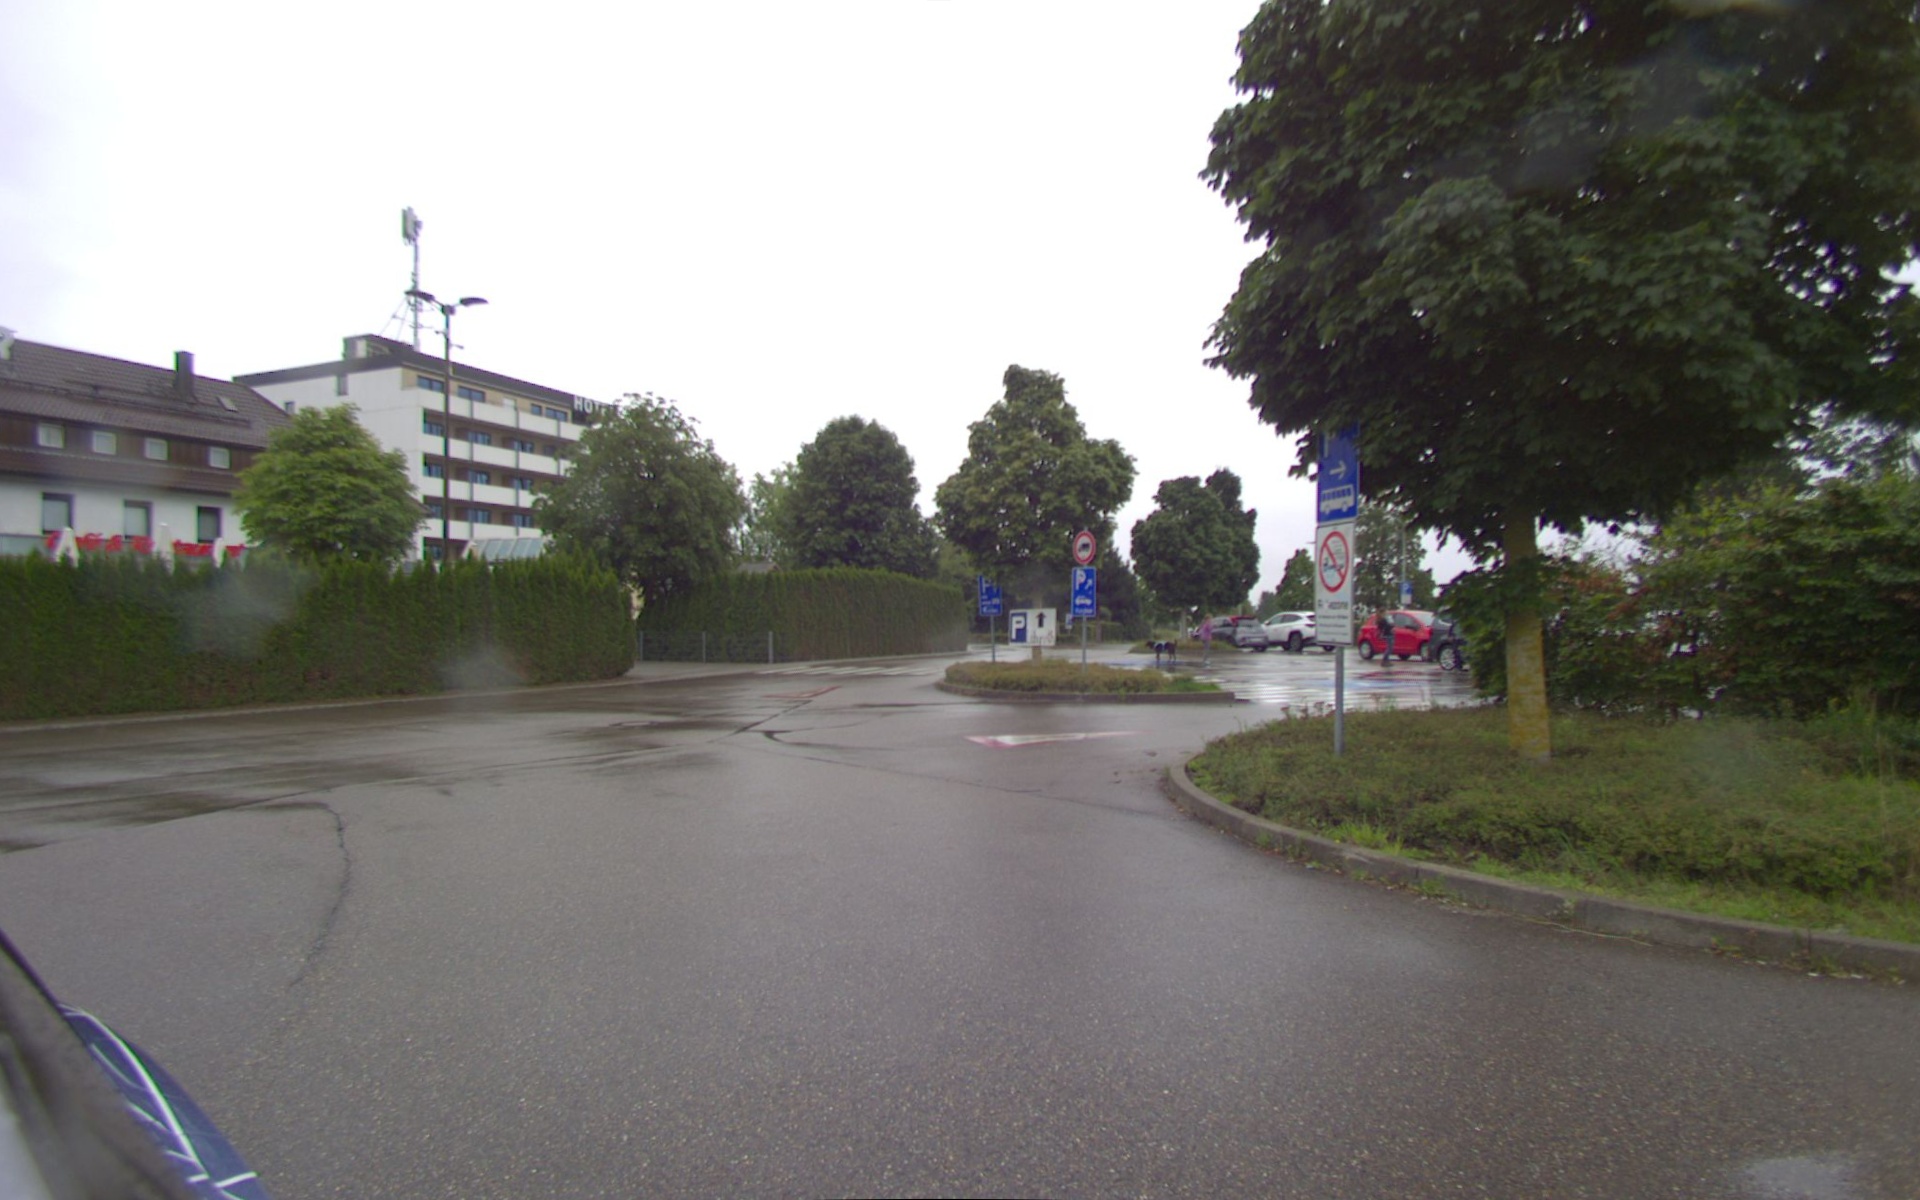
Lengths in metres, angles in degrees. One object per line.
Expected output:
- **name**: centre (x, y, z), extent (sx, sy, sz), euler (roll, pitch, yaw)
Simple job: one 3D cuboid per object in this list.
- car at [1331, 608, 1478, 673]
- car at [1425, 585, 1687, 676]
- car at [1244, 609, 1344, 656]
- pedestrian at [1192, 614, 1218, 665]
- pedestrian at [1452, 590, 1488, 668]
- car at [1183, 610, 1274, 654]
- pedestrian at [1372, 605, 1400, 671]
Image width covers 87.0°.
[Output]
- **car**: centre (13.536, 1.214, 31.090), extent (1.819, 1.806, 4.036), euler (-1, -1, -19)
- **car**: centre (13.282, 0.681, 23.001), extent (1.966, 1.806, 4.966), euler (-1, -1, -19)
- **car**: centre (14.007, 1.385, 42.758), extent (1.691, 1.876, 4.382), euler (1, -2, -19)
- **pedestrian**: centre (6.707, 1.070, 27.691), extent (0.639, 1.372, 0.450), euler (1, -2, 17)
- **pedestrian**: centre (11.638, 0.663, 23.117), extent (0.606, 1.737, 0.680), euler (1, -2, 17)
- **car**: centre (11.147, 1.334, 42.279), extent (1.691, 1.728, 4.039), euler (1, -2, -19)
- **pedestrian**: centre (10.991, 0.978, 26.114), extent (0.642, 1.651, 0.710), euler (-1, -3, 24)
